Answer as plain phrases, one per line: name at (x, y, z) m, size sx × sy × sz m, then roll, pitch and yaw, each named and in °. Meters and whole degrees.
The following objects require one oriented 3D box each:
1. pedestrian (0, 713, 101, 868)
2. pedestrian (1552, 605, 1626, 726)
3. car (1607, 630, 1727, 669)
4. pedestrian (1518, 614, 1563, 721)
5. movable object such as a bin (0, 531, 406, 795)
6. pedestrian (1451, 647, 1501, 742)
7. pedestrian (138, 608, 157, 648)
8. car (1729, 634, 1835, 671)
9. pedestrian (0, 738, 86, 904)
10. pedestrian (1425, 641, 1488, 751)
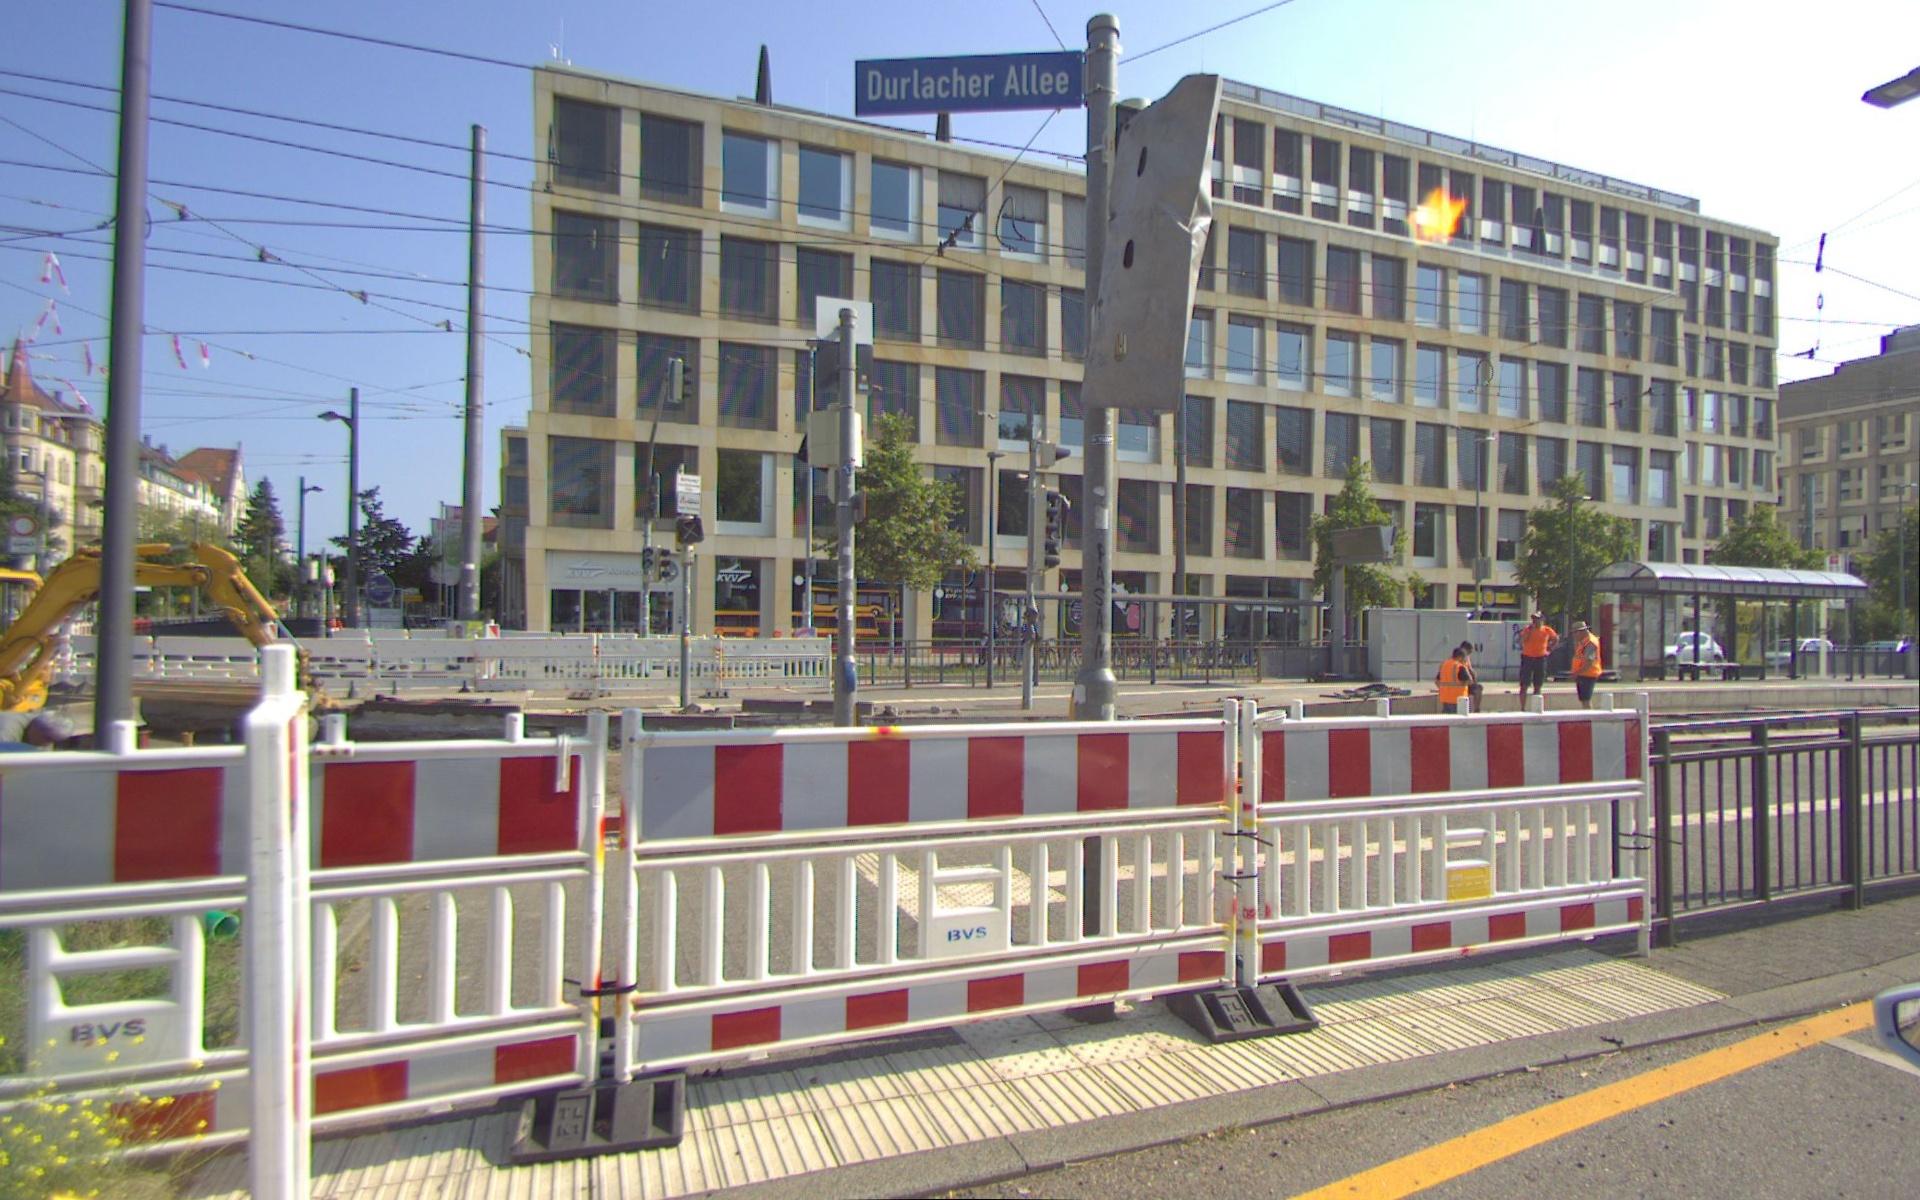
pedestrian at (-6.724, 1.331, 7.065) m, size 0.923 × 1.001 × 0.509 m, roll 1°, pitch -1°, yaw -27°
pedestrian at (10.574, 1.075, 16.900) m, size 0.776 × 1.976 × 0.722 m, roll 1°, pitch -1°, yaw -19°
car at (26.814, 1.859, 38.099) m, size 4.310 × 1.426 × 1.680 m, roll 1°, pitch -2°, yaw -23°
pedestrian at (10.283, 1.180, 17.780) m, size 0.616 × 1.840 × 0.638 m, roll -1°, pitch -1°, yaw 36°
movable object such as a bin at (-12.147, 0.678, 12.834) m, size 8.352 × 2.997 × 3.607 m, roll 2°, pitch 0°, yaw -22°
pedestrian at (8.972, 1.619, 17.455) m, size 0.632 × 1.575 × 0.623 m, roll -1°, pitch -1°, yaw 42°
pedestrian at (-42.826, 1.472, 52.946) m, size 0.630 × 2.040 × 0.673 m, roll 1°, pitch -1°, yaw -32°
car at (33.504, 2.116, 40.948) m, size 4.023 × 1.426 × 1.680 m, roll 1°, pitch -2°, yaw -23°
pedestrian at (-6.094, 1.382, 6.301) m, size 0.502 × 0.938 × 0.822 m, roll 0°, pitch -1°, yaw -3°
pedestrian at (7.922, 1.512, 16.063) m, size 0.756 × 1.685 × 0.669 m, roll 0°, pitch -1°, yaw 12°
